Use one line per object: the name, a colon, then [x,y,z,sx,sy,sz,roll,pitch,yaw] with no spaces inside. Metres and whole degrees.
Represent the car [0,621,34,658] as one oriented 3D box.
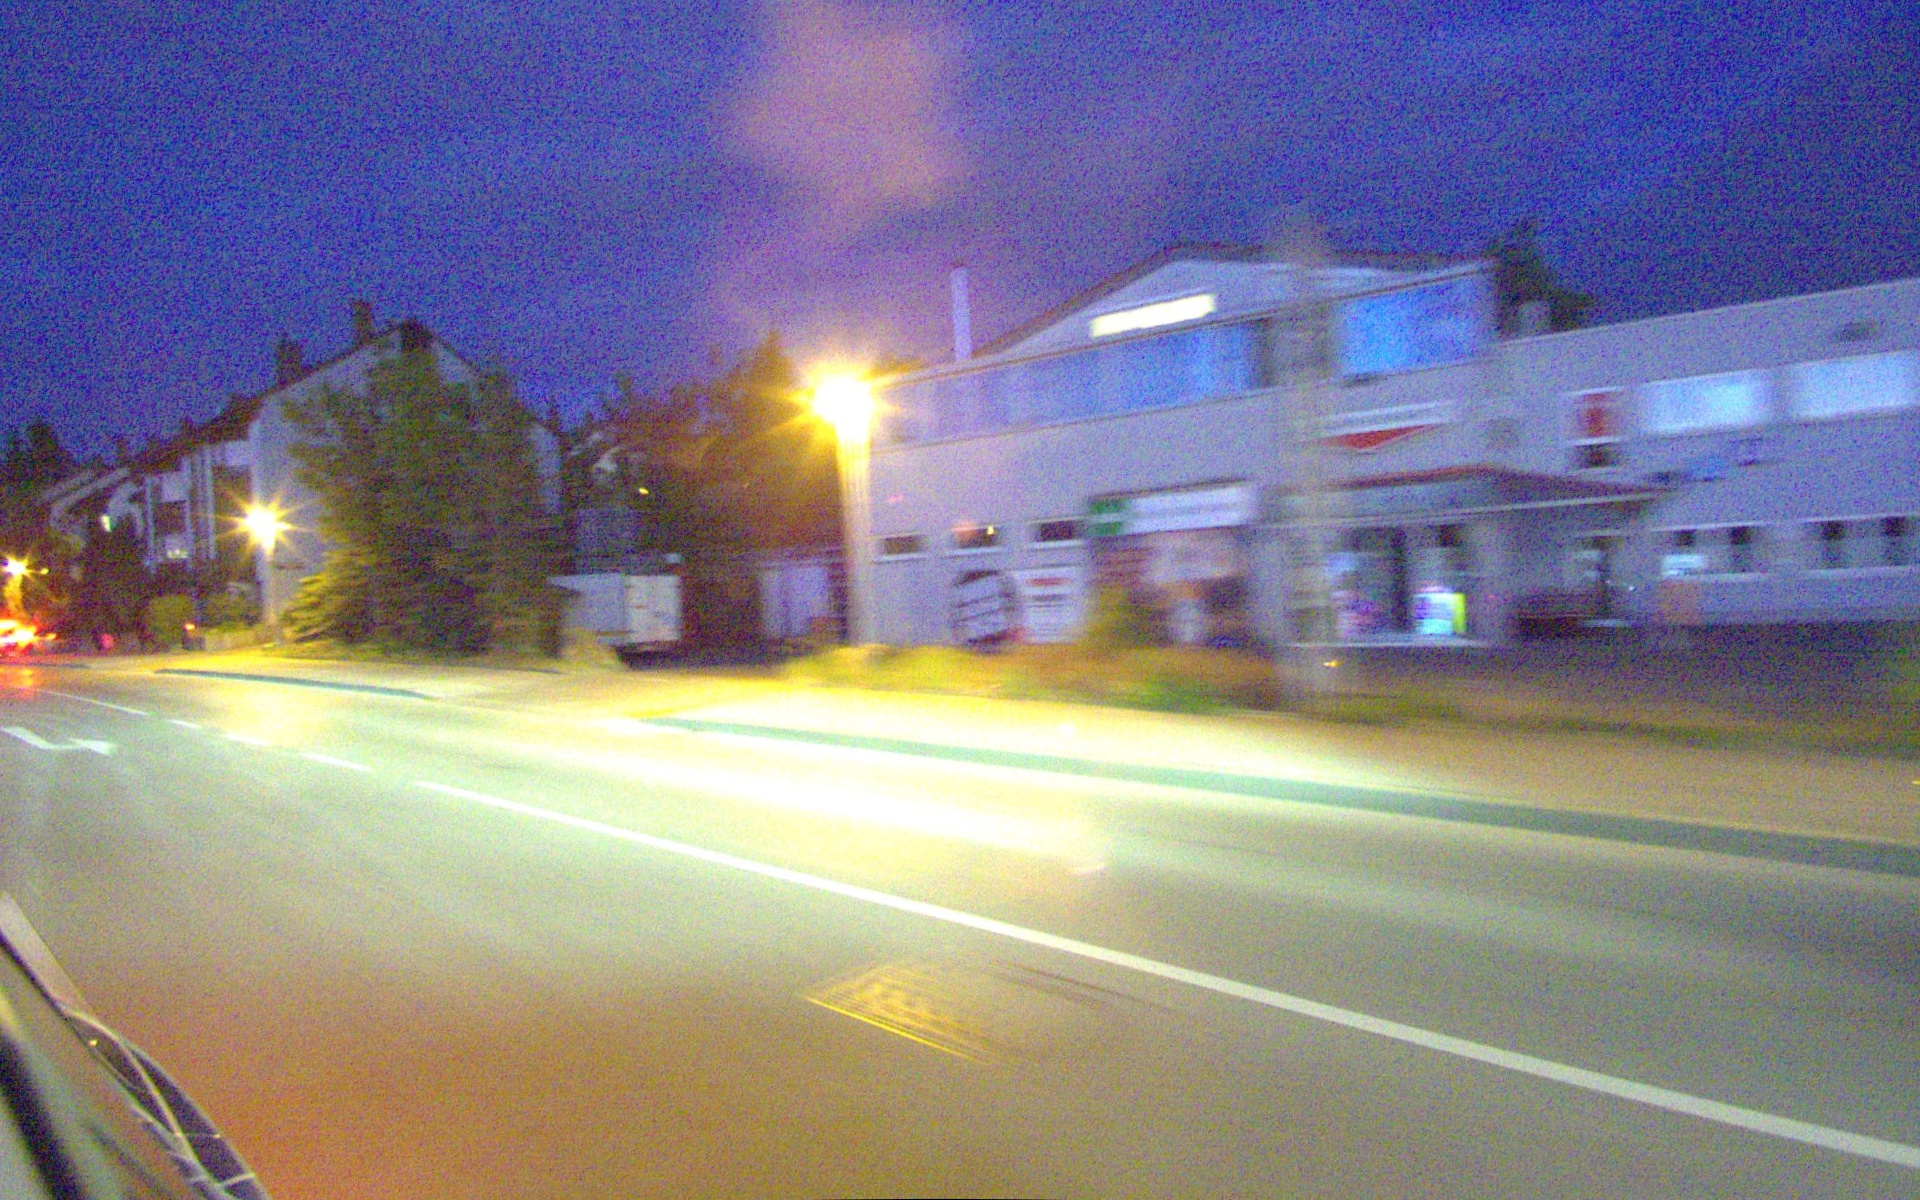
car: [-40.872,1.683,42.415,4.900,1.456,1.834,-2,0,33]
